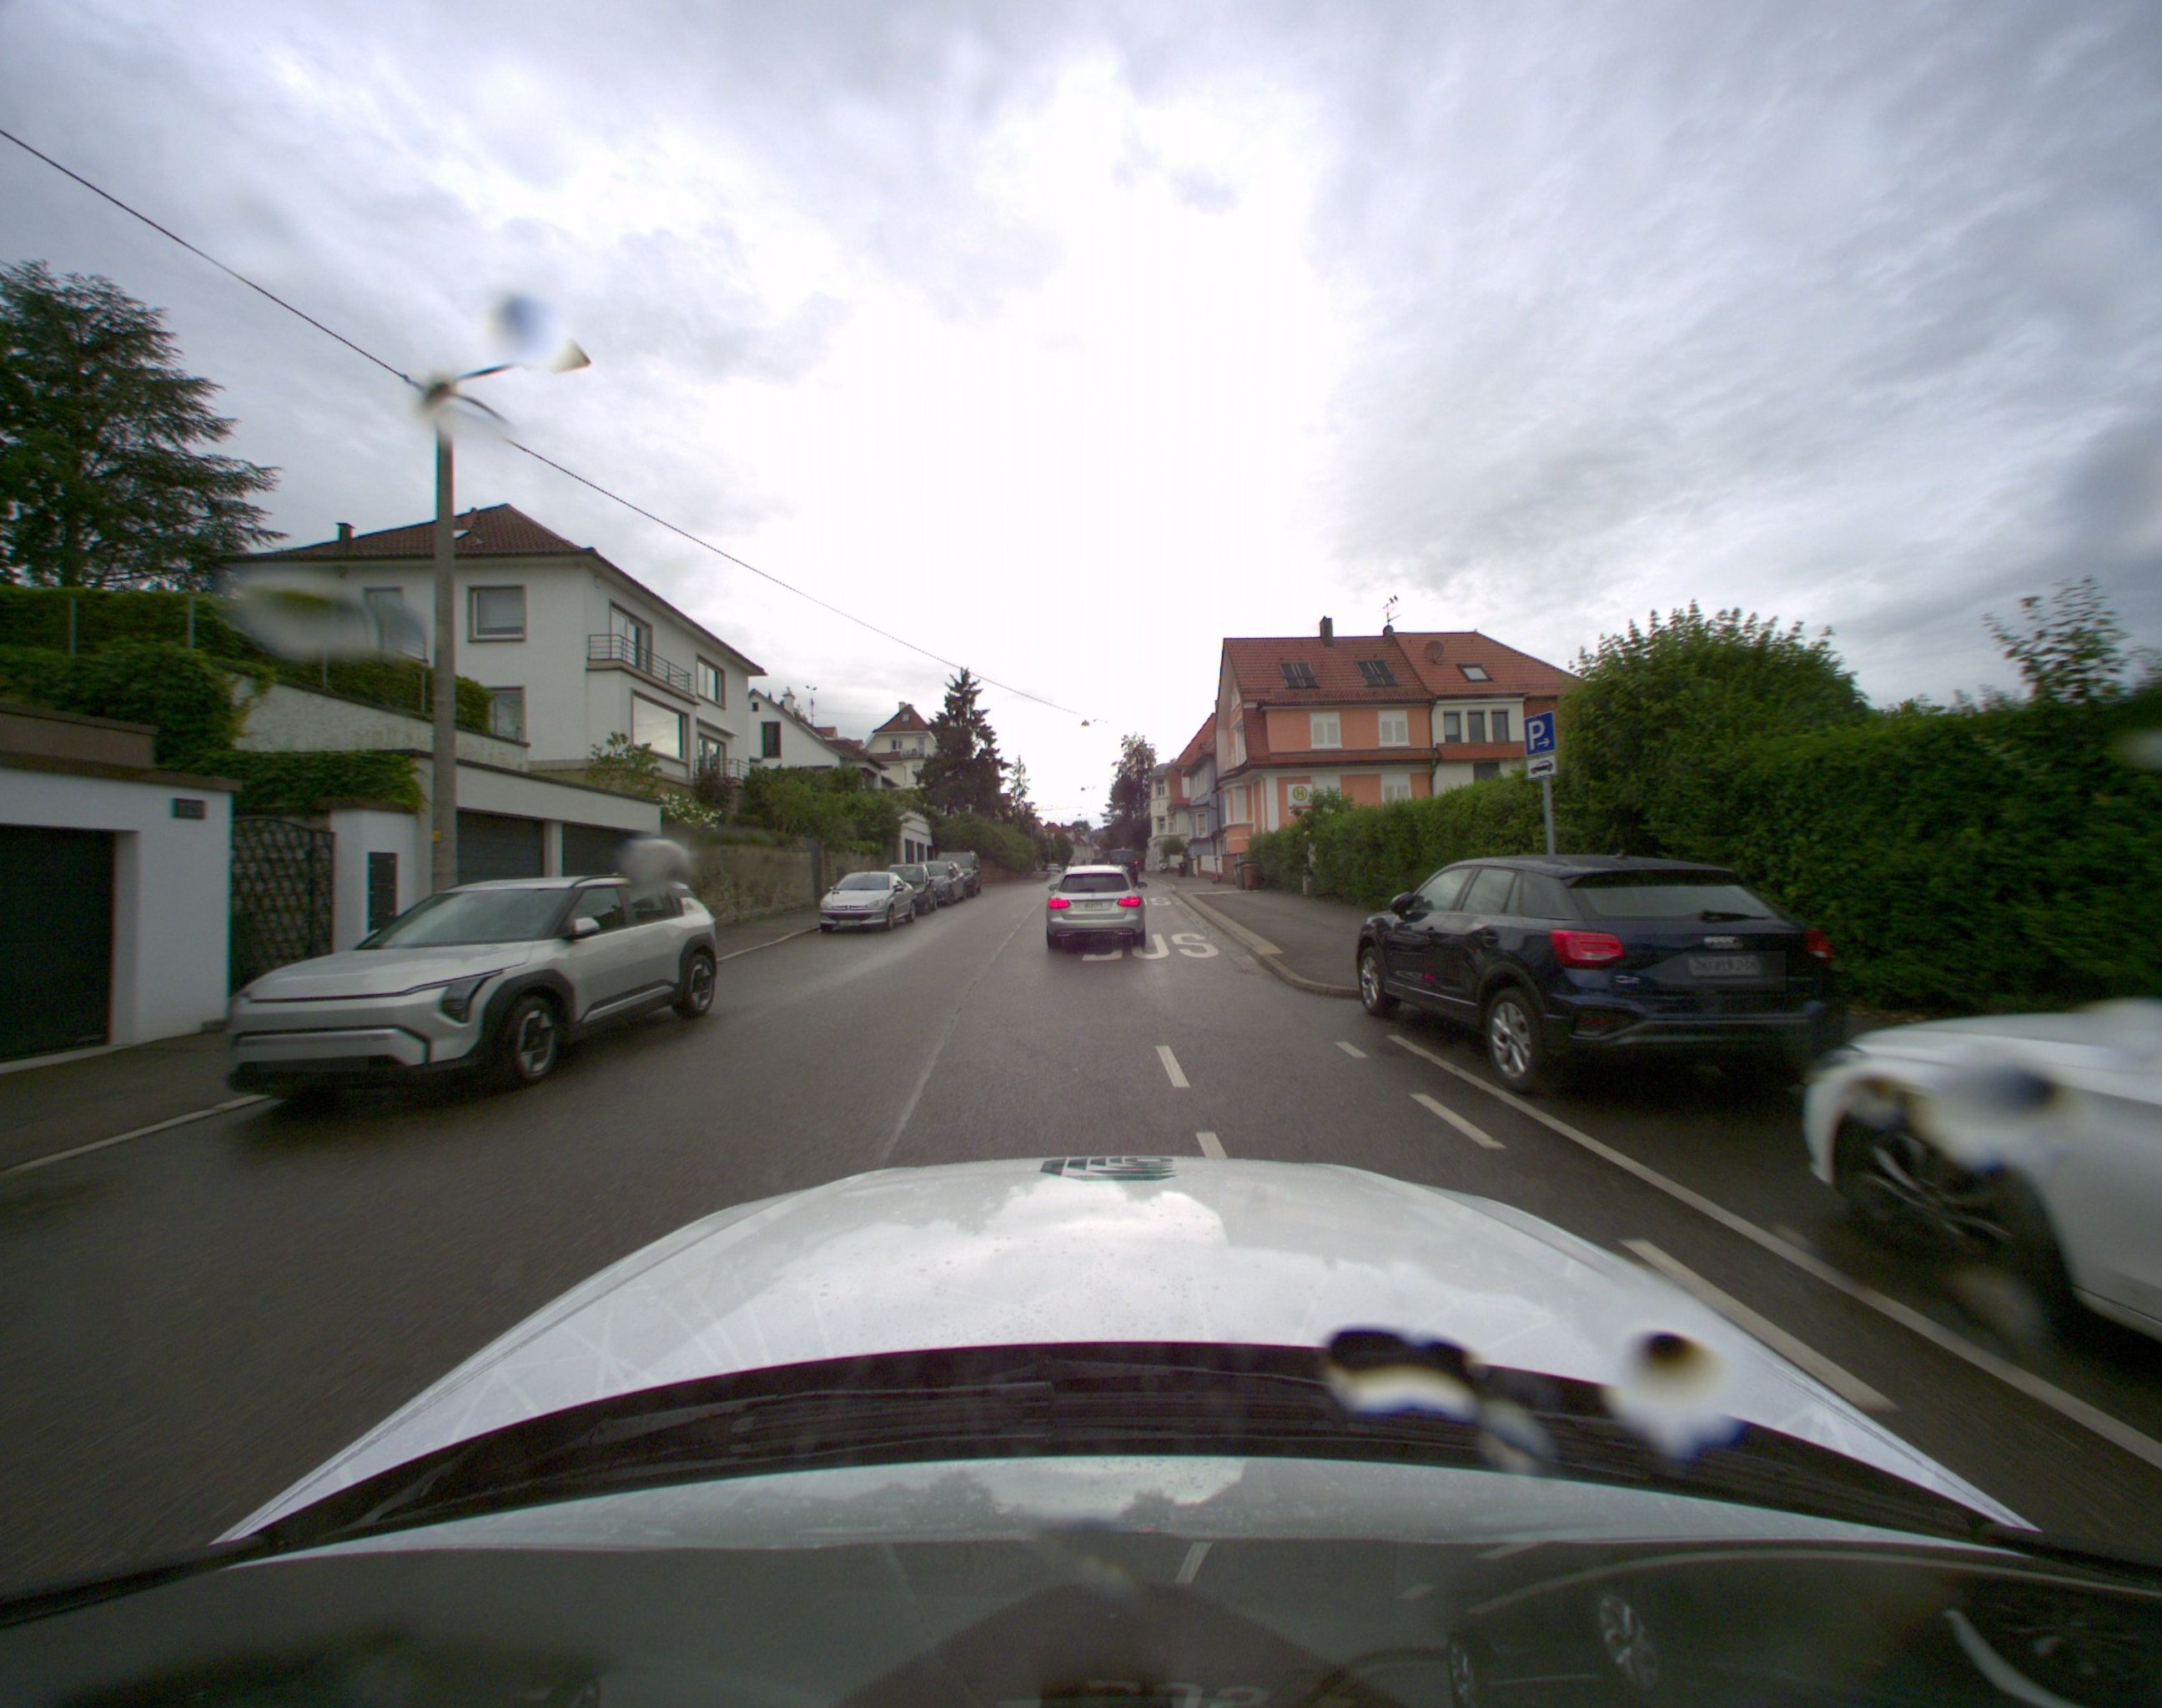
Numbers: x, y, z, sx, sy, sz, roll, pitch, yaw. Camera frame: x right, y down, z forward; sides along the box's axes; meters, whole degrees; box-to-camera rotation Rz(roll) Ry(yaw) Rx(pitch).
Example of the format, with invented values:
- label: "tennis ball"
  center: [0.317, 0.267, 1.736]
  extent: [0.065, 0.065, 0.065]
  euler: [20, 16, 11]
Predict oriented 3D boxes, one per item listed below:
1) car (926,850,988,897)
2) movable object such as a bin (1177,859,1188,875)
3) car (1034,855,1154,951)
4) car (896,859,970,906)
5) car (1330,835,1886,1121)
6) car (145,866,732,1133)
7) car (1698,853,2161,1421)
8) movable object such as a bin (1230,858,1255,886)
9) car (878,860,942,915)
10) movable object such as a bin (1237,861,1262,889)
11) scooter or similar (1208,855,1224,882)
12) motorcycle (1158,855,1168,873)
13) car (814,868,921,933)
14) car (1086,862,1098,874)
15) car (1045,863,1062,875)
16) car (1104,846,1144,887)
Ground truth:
- label: "car"
  center: [-5.334, 0.779, 35.709]
  extent: [2.125, 1.860, 5.586]
  euler: [-1, 0, -4]
- label: "movable object such as a bin"
  center: [6.286, 0.798, 50.617]
  extent: [0.547, 0.936, 0.634]
  euler: [-5, 0, 0]
- label: "car"
  center: [0.276, 0.815, 15.716]
  extent: [1.975, 1.553, 4.299]
  euler: [-1, 0, 1]
- label: "car"
  center: [-5.326, 0.976, 29.827]
  extent: [1.892, 1.515, 4.342]
  euler: [-1, 0, 0]
- label: "car"
  center: [3.562, 0.692, 6.604]
  extent: [1.748, 1.530, 4.204]
  euler: [-1, 0, 0]
- label: "car"
  center: [-5.080, 0.971, 7.407]
  extent: [1.892, 1.567, 4.237]
  euler: [-3, 0, 0]
- label: "car"
  center: [3.605, 0.729, 1.310]
  extent: [1.708, 1.405, 4.607]
  euler: [-1, 0, 0]
- label: "movable object such as a bin"
  center: [6.145, 0.680, 30.985]
  extent: [0.709, 1.030, 0.757]
  euler: [-4, 0, -1]
- label: "car"
  center: [-5.263, 0.987, 25.393]
  extent: [1.494, 1.524, 3.154]
  euler: [-2, 0, -4]
- label: "movable object such as a bin"
  center: [5.998, 0.751, 29.034]
  extent: [0.573, 0.969, 0.663]
  euler: [0, 0, -32]
- label: "scooter or similar"
  center: [6.451, 0.680, 38.939]
  extent: [0.689, 1.224, 1.302]
  euler: [-2, 0, 8]
- label: "motorcycle"
  center: [6.089, 0.727, 60.370]
  extent: [0.579, 1.261, 2.333]
  euler: [-4, 0, 3]
- label: "car"
  center: [-5.210, 1.095, 20.357]
  extent: [1.604, 1.337, 3.841]
  euler: [-1, 0, 0]
- label: "car"
  center: [2.398, 3.065, 177.642]
  extent: [2.457, 2.399, 4.002]
  euler: [-5, 0, 2]
- label: "car"
  center: [-3.694, 2.042, 109.149]
  extent: [2.111, 1.471, 4.015]
  euler: [-2, 0, -1]
- label: "car"
  center: [2.241, 0.599, 42.909]
  extent: [1.817, 1.882, 4.098]
  euler: [-6, 1, 3]
